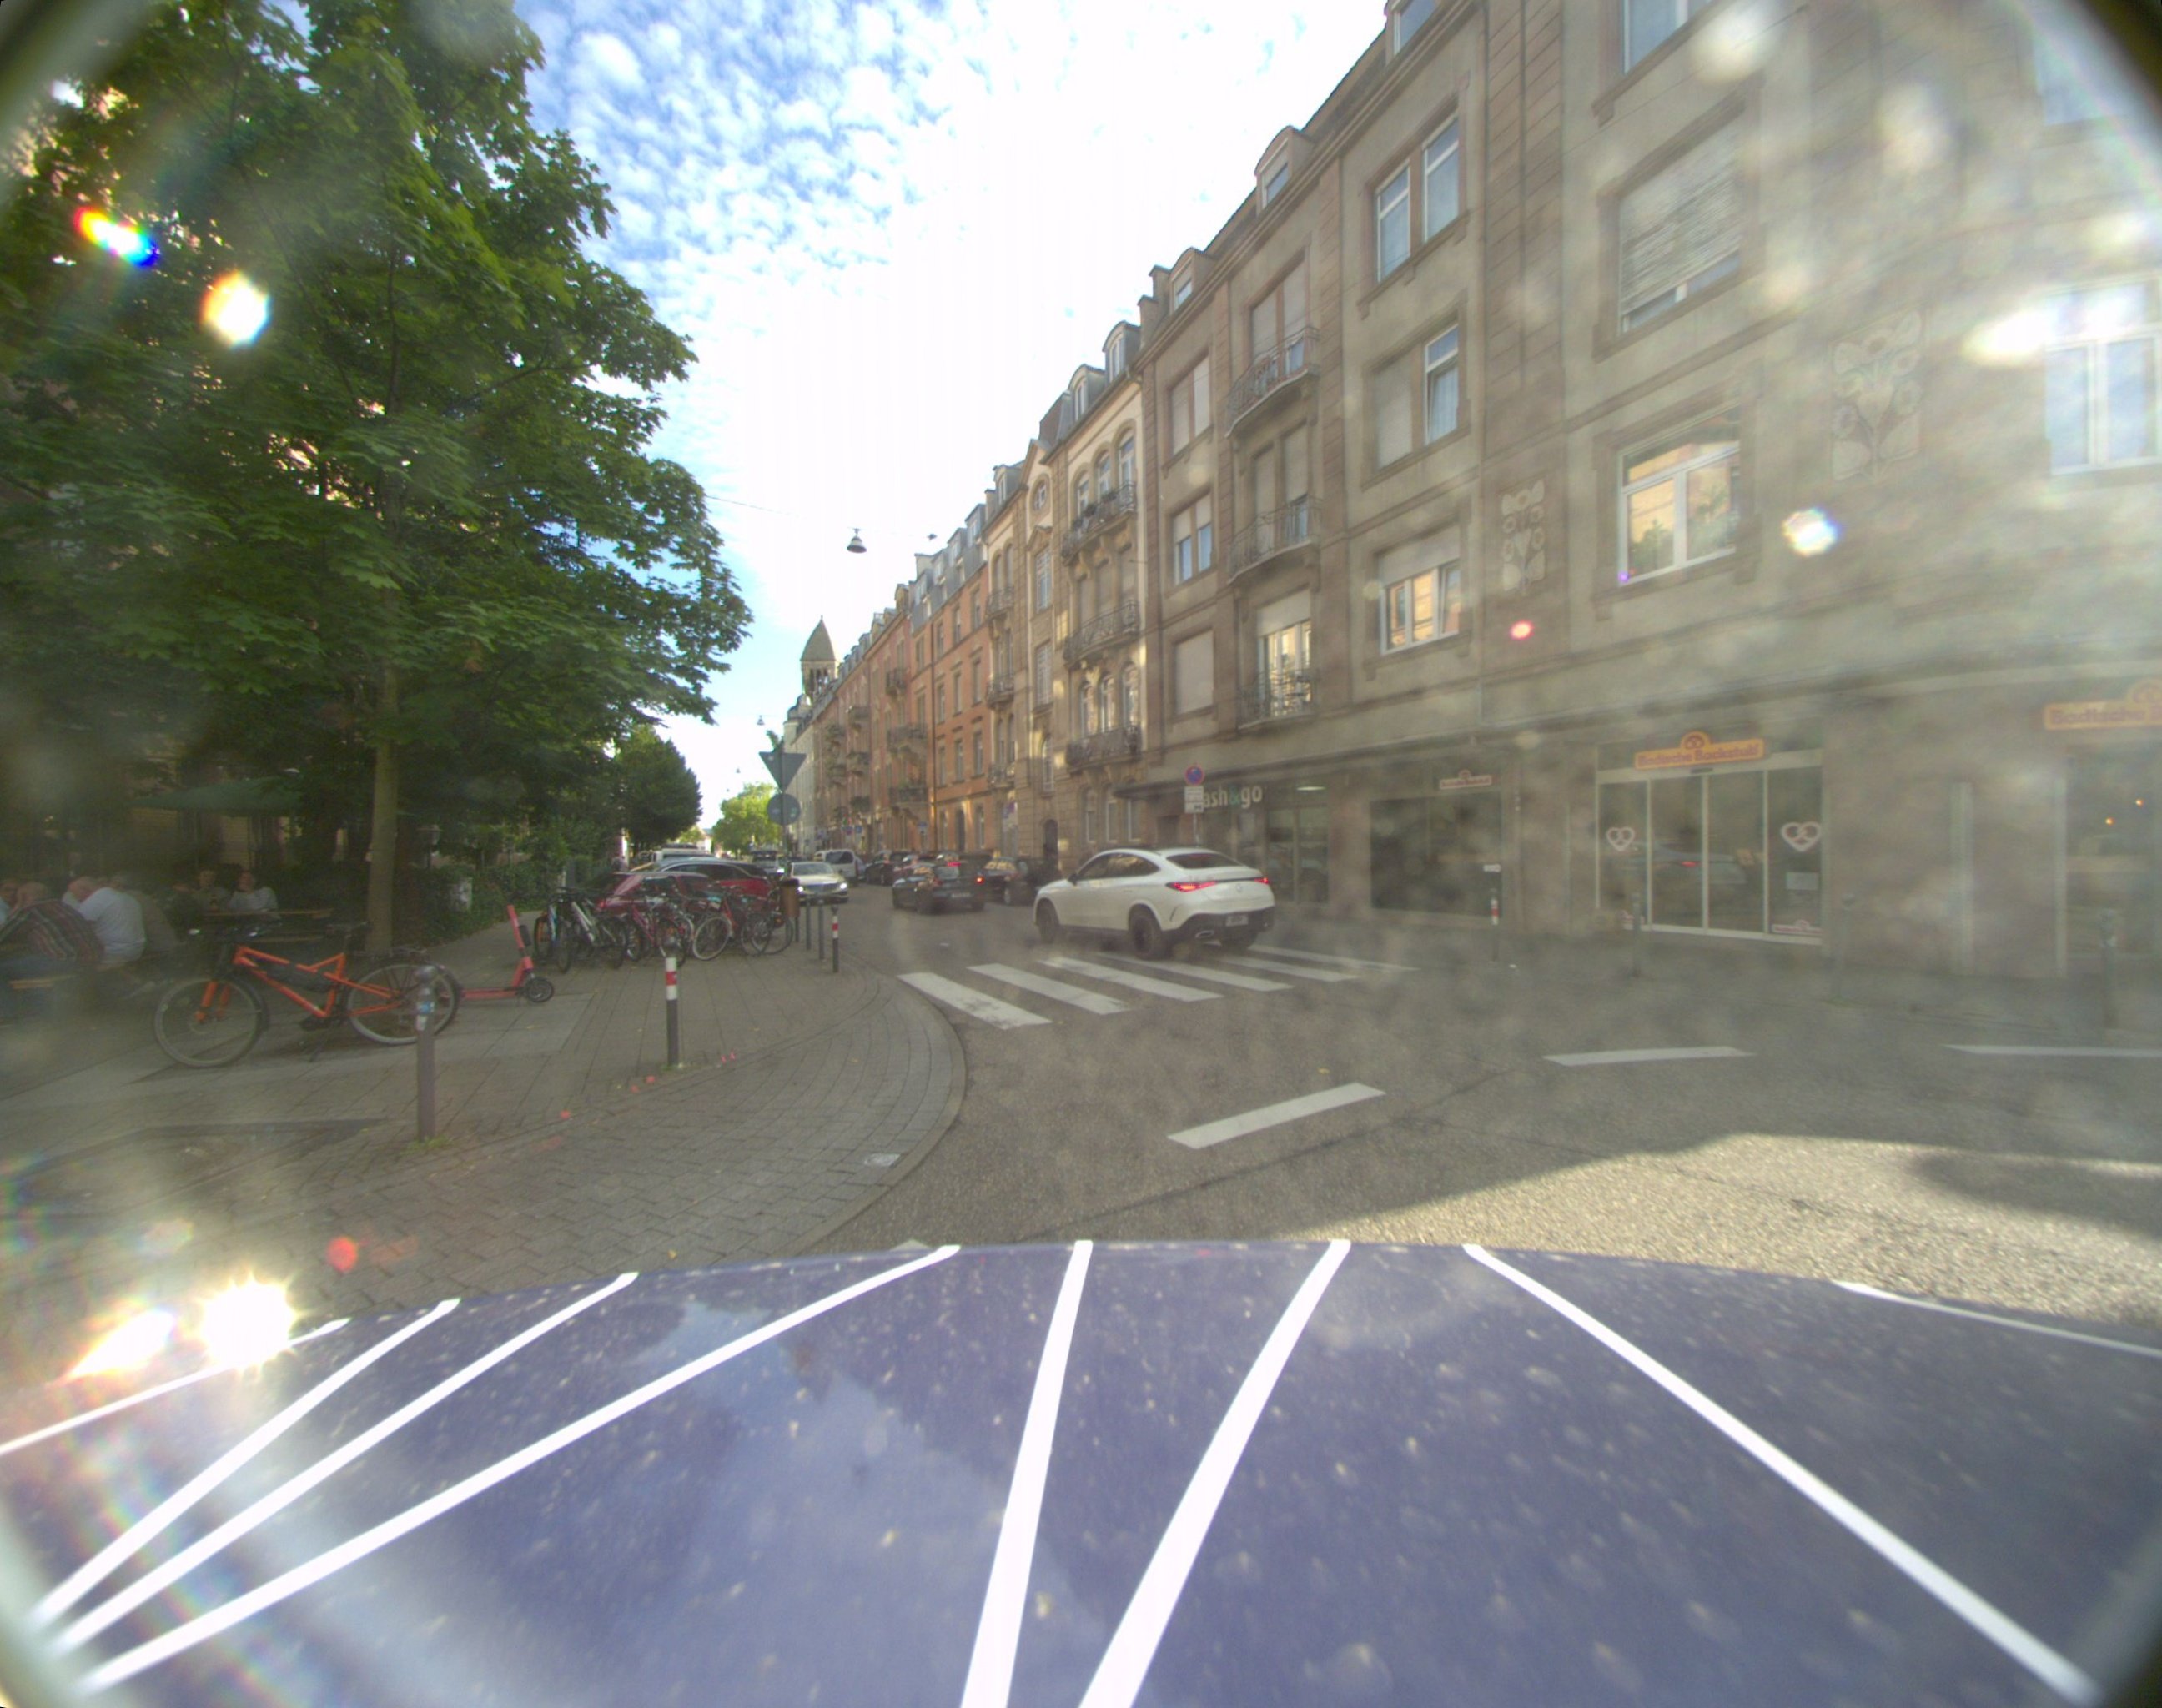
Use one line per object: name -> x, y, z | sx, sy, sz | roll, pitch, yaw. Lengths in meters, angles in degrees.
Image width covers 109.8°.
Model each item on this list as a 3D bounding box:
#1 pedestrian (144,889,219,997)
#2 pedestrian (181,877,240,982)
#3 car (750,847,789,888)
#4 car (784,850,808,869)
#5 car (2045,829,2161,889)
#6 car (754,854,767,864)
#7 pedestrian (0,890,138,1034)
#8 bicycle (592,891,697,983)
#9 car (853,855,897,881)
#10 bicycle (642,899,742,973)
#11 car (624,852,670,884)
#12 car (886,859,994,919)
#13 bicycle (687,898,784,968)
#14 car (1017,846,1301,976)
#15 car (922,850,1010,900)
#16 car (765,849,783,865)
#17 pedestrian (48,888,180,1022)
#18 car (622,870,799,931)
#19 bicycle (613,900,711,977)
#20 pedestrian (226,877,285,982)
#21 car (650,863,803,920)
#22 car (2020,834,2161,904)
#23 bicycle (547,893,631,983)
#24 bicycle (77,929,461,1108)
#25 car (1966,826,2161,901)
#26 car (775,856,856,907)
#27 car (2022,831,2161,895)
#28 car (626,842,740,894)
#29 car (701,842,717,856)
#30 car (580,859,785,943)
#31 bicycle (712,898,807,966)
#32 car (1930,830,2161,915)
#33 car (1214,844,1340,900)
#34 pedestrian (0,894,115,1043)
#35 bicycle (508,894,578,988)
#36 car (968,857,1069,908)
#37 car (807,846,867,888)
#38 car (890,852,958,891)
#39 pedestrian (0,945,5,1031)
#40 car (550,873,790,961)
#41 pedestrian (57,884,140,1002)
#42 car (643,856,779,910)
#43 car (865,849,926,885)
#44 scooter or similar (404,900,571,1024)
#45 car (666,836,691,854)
pedestrian -> -11.037, 1.066, 9.325 | 0.620, 1.225, 0.549 | 1, 2, 39
pedestrian -> -11.617, 0.986, 10.142 | 0.620, 1.320, 0.468 | 1, 2, 39
car -> -16.840, 0.680, 40.955 | 1.796, 2.051, 3.992 | -2, 1, -24
car -> -27.398, 0.500, 72.996 | 1.687, 1.775, 4.011 | -2, 1, -26
car -> 29.230, 0.116, 20.467 | 1.769, 1.543, 3.989 | -3, 1, -36
car -> -48.261, 0.766, 114.458 | 1.628, 1.371, 3.753 | -2, 1, -26
pedestrian -> -10.035, 1.035, 7.545 | 0.730, 1.307, 0.519 | -1, 0, -39
bicycle -> -6.200, 1.138, 10.761 | 1.834, 1.136, 0.476 | 1, 0, 32
car -> -11.515, 0.748, 42.336 | 1.628, 1.371, 3.753 | -2, 1, -26
bicycle -> -6.036, 1.236, 11.752 | 1.860, 0.979, 0.473 | 1, 0, 32
car -> -27.025, 0.819, 47.378 | 1.737, 1.792, 3.993 | -3, 1, -20
car -> -4.138, 0.900, 21.692 | 1.773, 1.374, 4.441 | -4, 2, -27
bicycle -> -5.589, 1.246, 12.244 | 1.860, 0.979, 0.473 | 1, 0, 32
car -> 0.976, 0.762, 12.273 | 2.003, 1.625, 4.832 | -2, 0, -31
car -> -4.276, 0.685, 27.667 | 1.865, 1.576, 4.388 | -3, 2, -26
car -> -38.592, 0.357, 95.562 | 1.730, 1.922, 4.002 | -2, 1, -26
pedestrian -> -10.292, 1.036, 8.119 | 0.730, 1.307, 0.606 | -1, 0, -39
car -> -9.040, 1.074, 18.748 | 1.509, 1.314, 3.596 | 0, -1, 40
bicycle -> -6.234, 1.224, 11.269 | 1.834, 0.979, 0.419 | 1, 0, 32
pedestrian -> -10.980, 0.981, 10.107 | 0.620, 1.320, 0.468 | 1, 2, 39
car -> -9.895, 0.996, 21.381 | 1.509, 1.456, 3.596 | 0, -1, 40
car -> 25.372, 0.325, 17.909 | 1.769, 1.543, 3.989 | -3, 1, -36
bicycle -> -6.911, 1.133, 10.636 | 1.670, 1.094, 0.476 | 1, 0, 39
bicycle -> -6.015, 1.171, 5.802 | 1.859, 1.029, 0.682 | -1, 1, -27
car -> 23.205, 0.187, 17.210 | 1.769, 1.543, 3.989 | -3, 1, -36
car -> -9.606, 0.901, 27.240 | 1.947, 1.588, 4.825 | -3, 1, -28
car -> 27.419, 0.210, 19.532 | 1.769, 1.543, 3.989 | -3, 1, -36
car -> -20.454, 0.647, 39.265 | 1.995, 2.409, 4.747 | -2, 1, 31
car -> -54.697, -0.706, 111.816 | 2.002, 1.878, 3.992 | -3, 1, -25
car -> -8.515, 0.931, 16.462 | 1.509, 1.605, 3.596 | 0, -1, 40
bicycle -> -5.368, 1.260, 12.639 | 1.860, 0.979, 0.473 | 1, 0, 32
car -> 20.296, 0.342, 15.386 | 1.769, 1.543, 3.989 | -3, 1, -36
car -> 6.706, 0.561, 25.876 | 4.006, 1.612, 1.995 | -3, 1, -35
pedestrian -> -9.745, 1.049, 7.122 | 0.730, 1.307, 0.519 | -1, 0, -39
bicycle -> -7.238, 1.121, 10.201 | 1.670, 1.094, 0.435 | 1, 0, 43
car -> -1.996, 0.804, 23.300 | 1.727, 1.361, 3.821 | -3, 1, -26
car -> -12.180, 0.612, 37.766 | 1.947, 1.869, 4.825 | -3, 1, -28
car -> -6.866, 0.720, 32.895 | 1.765, 1.488, 4.124 | -3, 1, -28
pedestrian -> -10.737, 1.020, 6.988 | 0.716, 1.371, 0.670 | -1, 2, 8
car -> -7.447, 1.054, 14.054 | 1.509, 1.372, 3.596 | 0, -1, 38
pedestrian -> -11.586, 1.021, 8.979 | 0.620, 1.293, 0.549 | 1, 2, 39
car -> -11.734, 0.893, 24.244 | 1.509, 1.602, 3.596 | 0, -1, 40
car -> -9.298, 0.623, 37.861 | 1.765, 1.589, 4.331 | -3, 1, -30
scooter or similar -> -6.108, 1.095, 7.855 | 1.292, 1.203, 0.556 | -1, -1, 3
car -> -41.682, -0.889, 78.627 | 1.854, 1.724, 3.990 | -3, 1, -32
